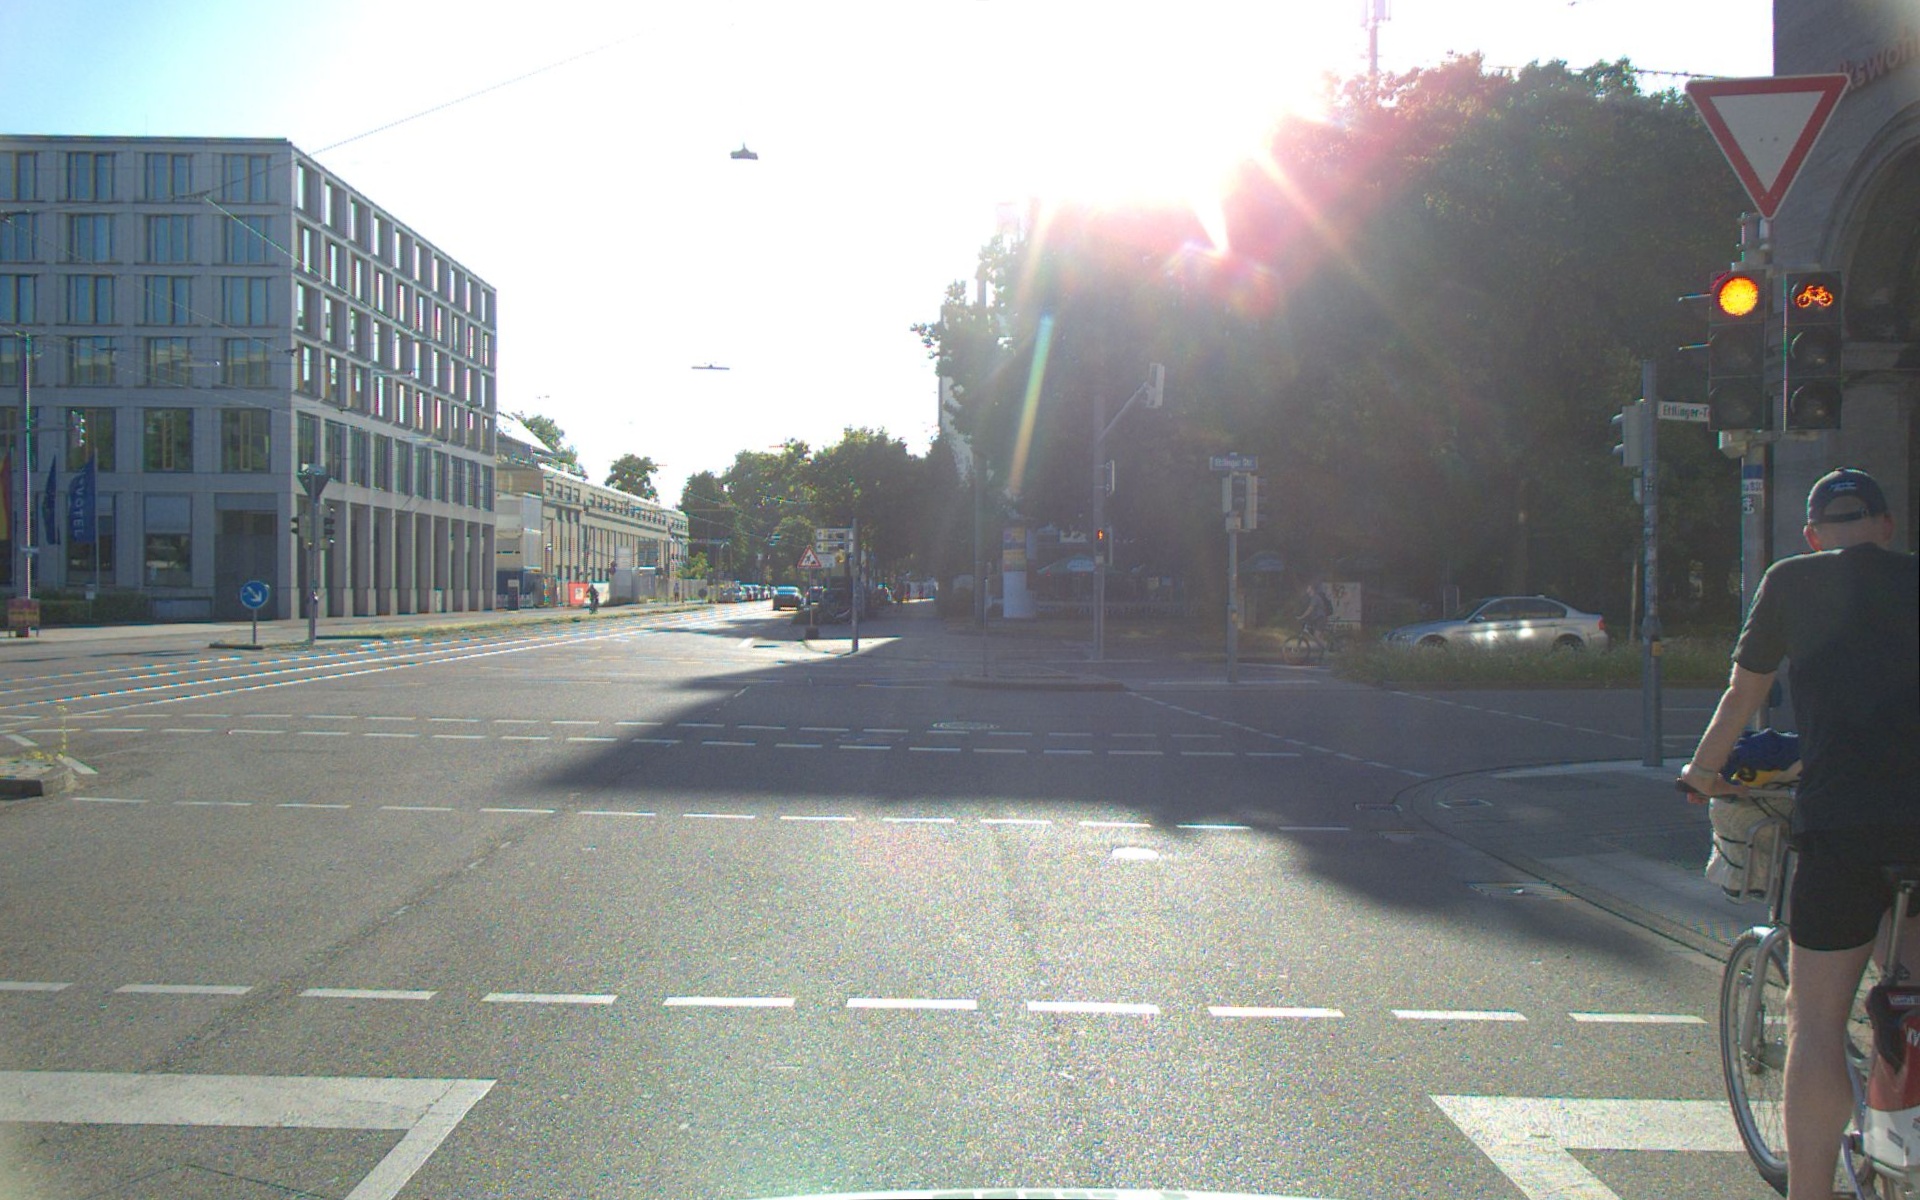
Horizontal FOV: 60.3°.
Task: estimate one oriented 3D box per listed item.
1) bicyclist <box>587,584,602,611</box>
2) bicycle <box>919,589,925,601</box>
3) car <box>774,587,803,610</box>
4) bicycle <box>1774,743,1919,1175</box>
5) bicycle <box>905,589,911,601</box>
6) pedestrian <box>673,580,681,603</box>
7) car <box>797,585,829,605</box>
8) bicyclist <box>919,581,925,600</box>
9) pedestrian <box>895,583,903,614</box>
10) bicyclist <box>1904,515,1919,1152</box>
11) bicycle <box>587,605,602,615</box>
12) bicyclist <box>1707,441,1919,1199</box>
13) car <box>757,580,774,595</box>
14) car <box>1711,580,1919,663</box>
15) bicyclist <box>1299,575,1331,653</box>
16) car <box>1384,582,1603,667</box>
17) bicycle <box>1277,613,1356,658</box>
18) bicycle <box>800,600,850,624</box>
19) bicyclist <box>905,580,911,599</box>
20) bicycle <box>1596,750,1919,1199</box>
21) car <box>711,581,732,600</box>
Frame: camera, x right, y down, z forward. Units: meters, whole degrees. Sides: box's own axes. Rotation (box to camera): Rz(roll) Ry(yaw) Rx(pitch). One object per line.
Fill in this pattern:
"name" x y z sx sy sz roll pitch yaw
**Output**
"bicyclist" -18.969 -0.113 85.839 0.584 1.401 0.637 1 -1 -2
"bicycle" -3.633 -0.473 157.030 0.563 1.096 1.830 0 0 -1
"car" -11.126 -0.098 107.616 1.627 1.481 4.430 1 0 -3
"bicycle" 2.858 1.006 4.339 0.523 1.096 1.750 1 0 -2
"bicycle" -4.924 -0.495 156.898 0.563 1.096 1.830 0 0 -1
"pedestrian" -25.184 -0.786 147.182 0.660 2.049 0.751 1 -1 -3
"car" -12.133 -0.418 136.630 1.853 1.592 4.810 3 1 3
"bicyclist" -3.634 -0.905 157.029 0.558 1.721 0.699 0 0 -1
"pedestrian" -3.587 -0.078 97.681 0.454 1.845 0.502 0 0 -5
"bicyclist" 2.883 0.633 4.231 0.546 1.721 0.640 1 0 -2
"bicycle" -18.972 0.525 85.833 0.491 0.524 1.257 1 0 -1
"bicyclist" 2.089 0.584 3.732 0.547 1.830 0.550 1 0 1
"car" -22.834 -1.446 194.362 1.659 1.748 4.244 1 0 -4
"car" 17.530 0.421 33.664 3.770 1.639 1.650 0 0 -1
"bicyclist" 7.813 0.308 36.423 0.630 1.712 0.507 0 0 5
"car" 10.770 0.479 33.563 3.912 1.639 1.650 0 0 -1
"bicycle" 7.843 0.786 36.425 1.631 0.980 0.534 0 0 5
"bicycle" -5.490 0.507 67.384 1.976 0.907 0.650 -2 -1 27
"bicyclist" -4.930 -0.999 156.937 0.558 1.721 0.699 0 0 -1
"bicycle" 2.071 0.987 3.891 0.505 1.096 1.728 1 0 1
"car" -22.475 -0.905 156.113 1.659 1.748 4.244 1 0 -4
